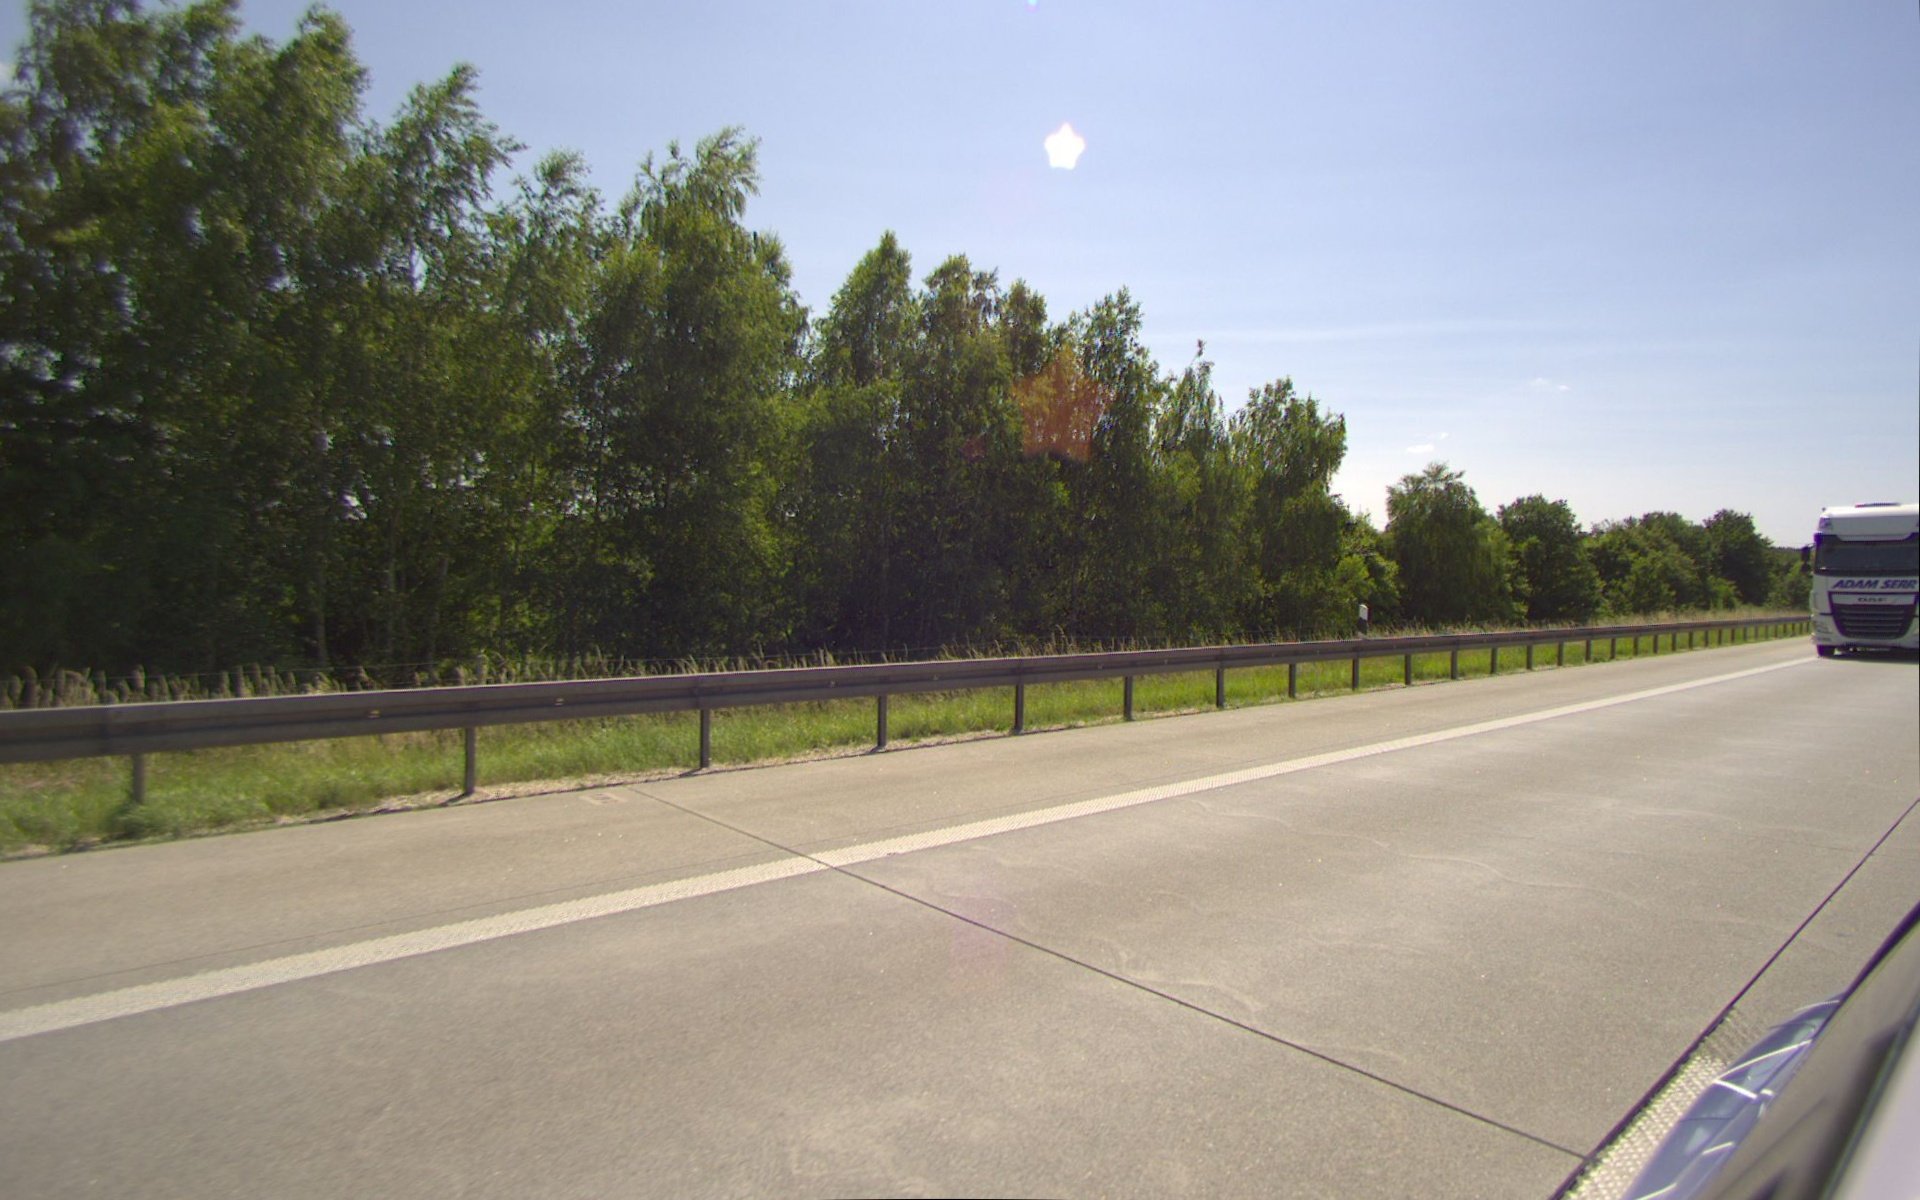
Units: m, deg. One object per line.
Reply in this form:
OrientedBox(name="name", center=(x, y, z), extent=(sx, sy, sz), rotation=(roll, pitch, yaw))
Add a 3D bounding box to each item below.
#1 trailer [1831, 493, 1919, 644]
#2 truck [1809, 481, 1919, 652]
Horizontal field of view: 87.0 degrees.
OrientedBox(name="trailer", center=(30.343, -0.887, 31.829), extent=(12.493, 4.093, 2.857), rotation=(0, 1, -42))
OrientedBox(name="truck", center=(24.959, -0.829, 26.928), extent=(5.698, 4.139, 2.816), rotation=(0, 1, -42))
